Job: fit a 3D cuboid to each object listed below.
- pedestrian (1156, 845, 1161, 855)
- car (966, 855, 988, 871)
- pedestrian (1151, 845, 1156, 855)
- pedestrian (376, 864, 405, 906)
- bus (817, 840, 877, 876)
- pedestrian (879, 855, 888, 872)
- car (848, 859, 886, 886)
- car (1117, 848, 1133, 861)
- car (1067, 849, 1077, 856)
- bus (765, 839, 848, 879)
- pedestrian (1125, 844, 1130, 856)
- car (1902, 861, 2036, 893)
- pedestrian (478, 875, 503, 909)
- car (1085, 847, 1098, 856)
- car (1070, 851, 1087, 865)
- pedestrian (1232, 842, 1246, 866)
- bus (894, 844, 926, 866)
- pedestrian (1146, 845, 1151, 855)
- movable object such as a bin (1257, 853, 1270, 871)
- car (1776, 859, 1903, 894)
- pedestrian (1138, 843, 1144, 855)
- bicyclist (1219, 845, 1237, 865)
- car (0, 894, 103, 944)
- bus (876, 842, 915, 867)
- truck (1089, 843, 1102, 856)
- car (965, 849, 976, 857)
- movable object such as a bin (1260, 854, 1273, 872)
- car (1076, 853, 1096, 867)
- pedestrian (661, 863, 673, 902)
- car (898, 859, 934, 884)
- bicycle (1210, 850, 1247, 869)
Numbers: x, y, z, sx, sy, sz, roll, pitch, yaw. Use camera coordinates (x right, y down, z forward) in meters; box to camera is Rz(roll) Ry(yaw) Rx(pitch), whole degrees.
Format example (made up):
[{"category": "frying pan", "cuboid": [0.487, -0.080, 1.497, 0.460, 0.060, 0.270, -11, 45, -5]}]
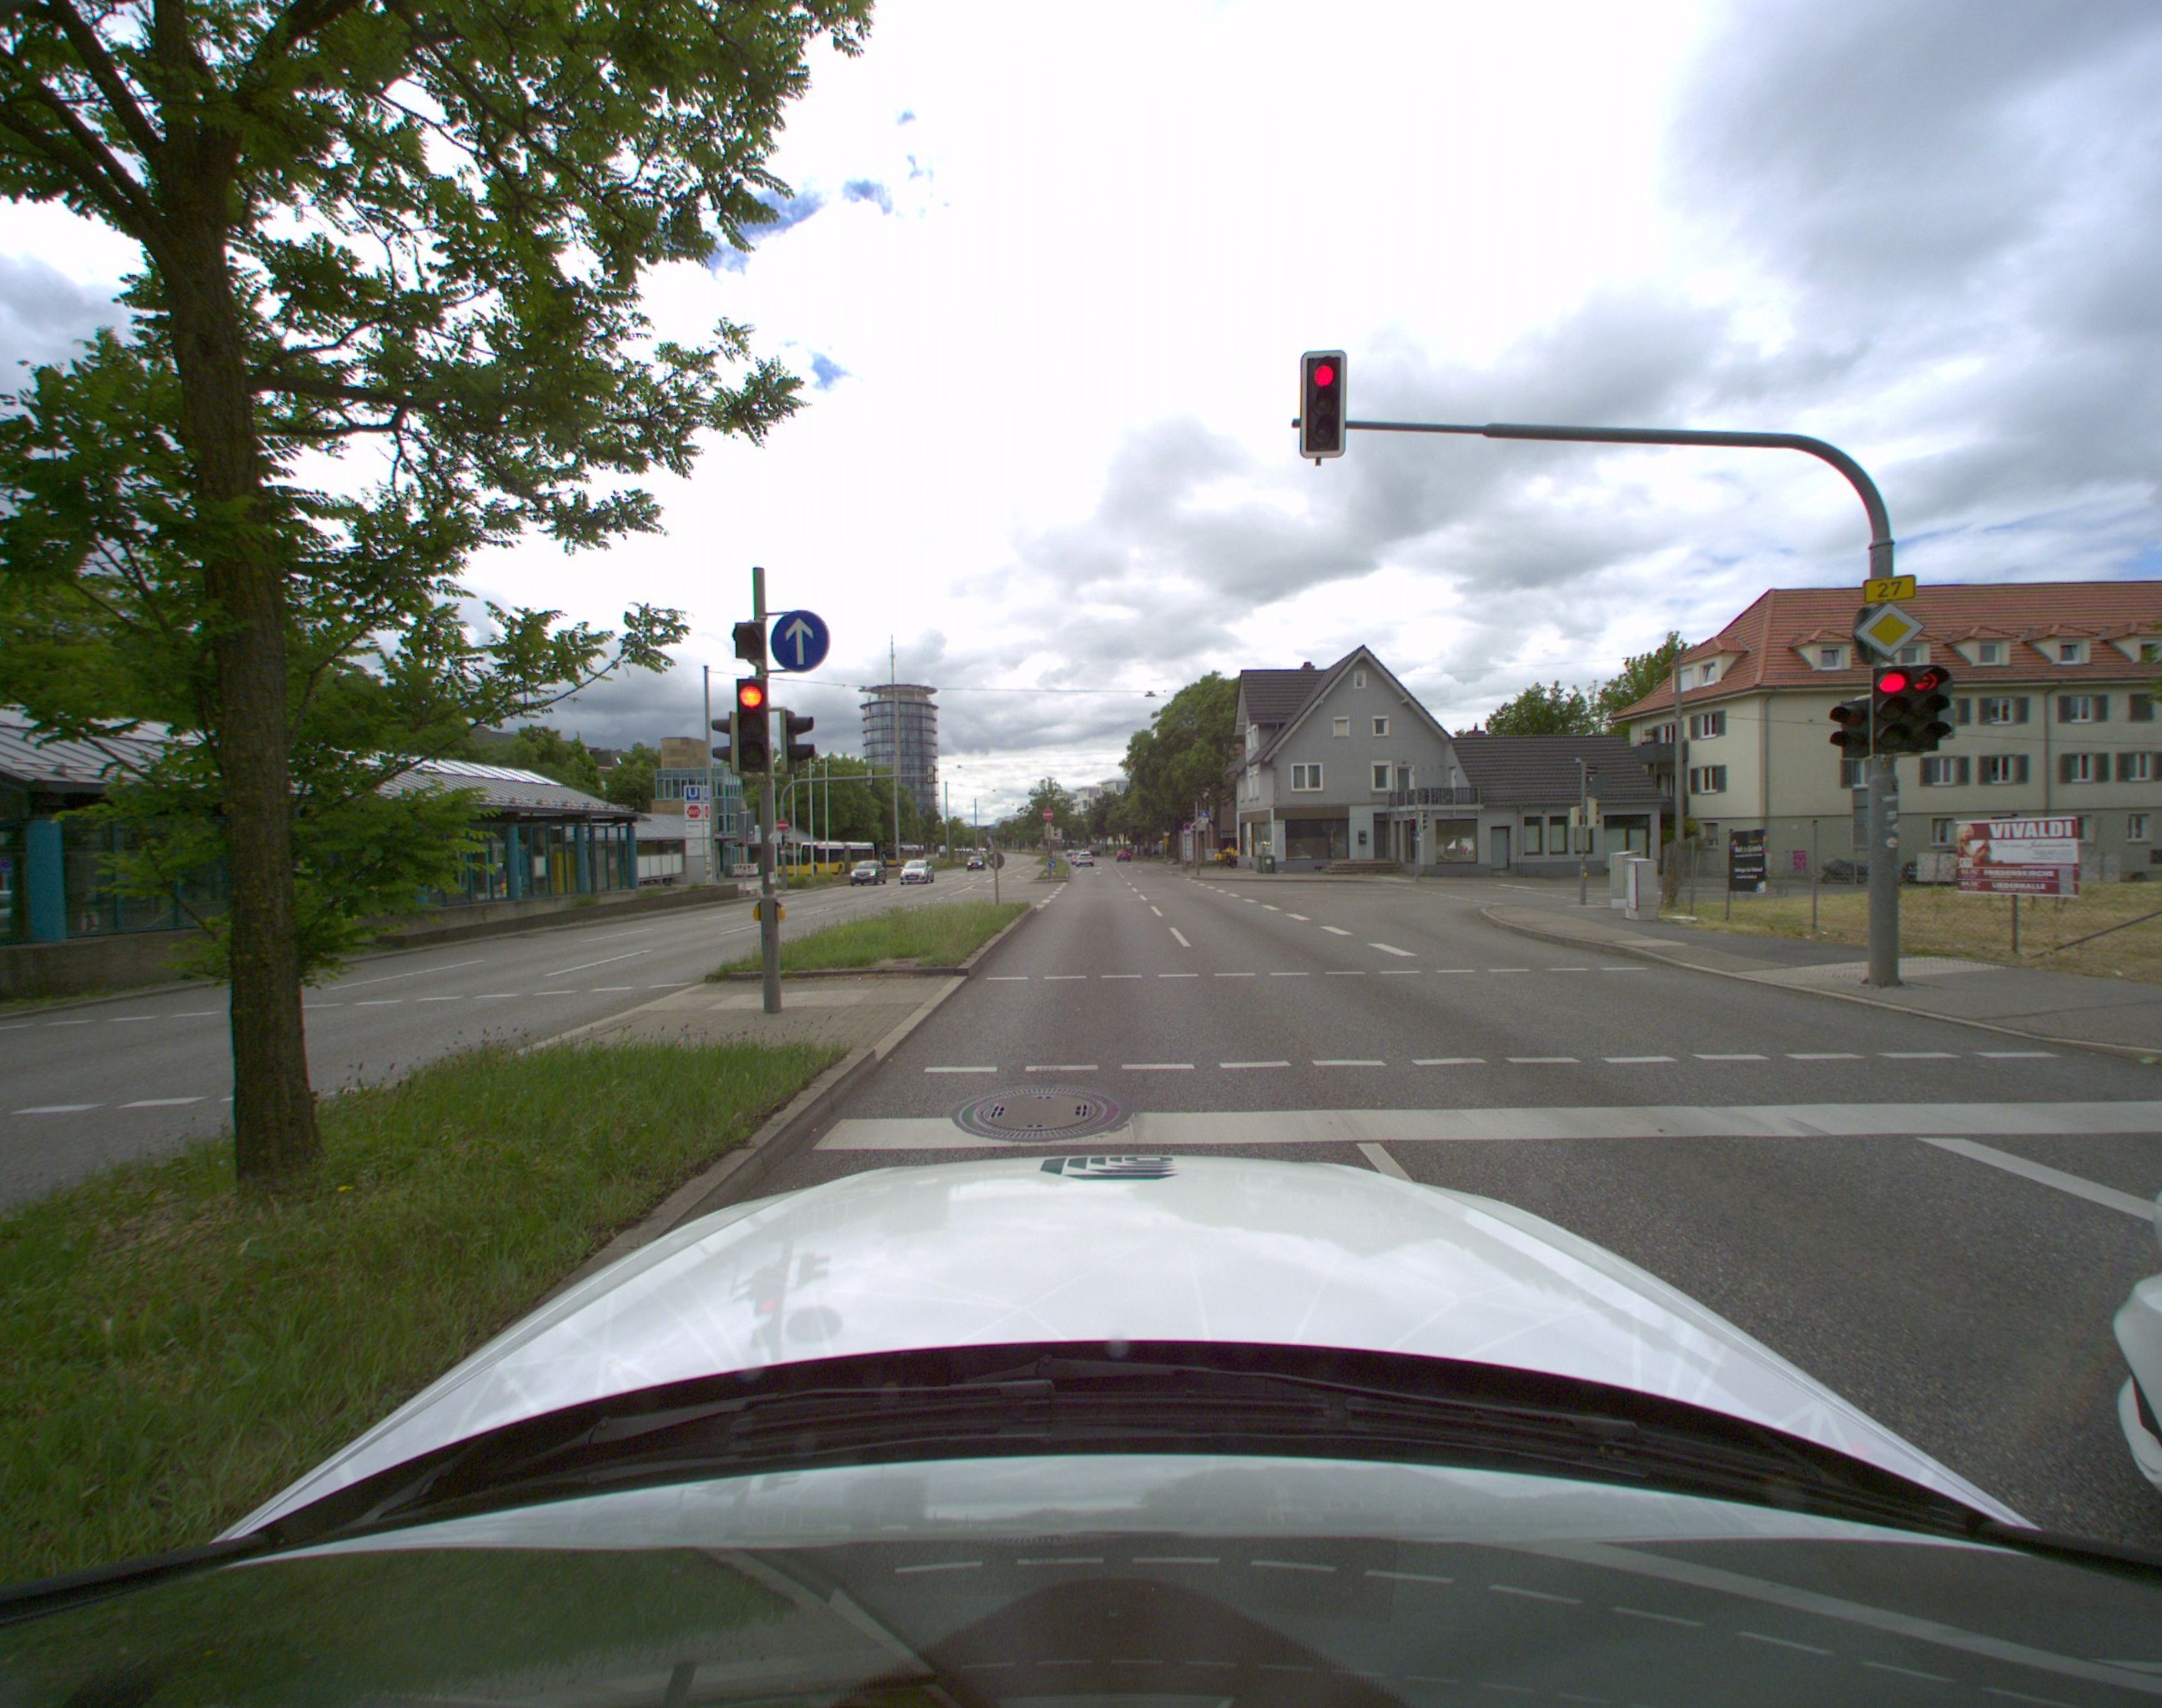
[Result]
[{"category": "pedestrian", "cuboid": [12.850, -0.667, 134.858, 0.649, 1.570, 0.669, -2, 0, -6]}, {"category": "car", "cuboid": [-10.872, 0.923, 85.259, 1.696, 1.492, 3.562, -2, 0, 1]}, {"category": "pedestrian", "cuboid": [12.033, -0.646, 135.047, 0.649, 1.570, 0.669, -2, 0, -6]}, {"category": "pedestrian", "cuboid": [-27.787, 1.231, 32.779, 0.520, 1.655, 0.709, -1, 0, -5]}, {"category": "bus", "cuboid": [-23.358, 0.373, 81.864, 2.975, 3.270, 7.889, -2, 0, 6]}, {"category": "pedestrian", "cuboid": [-22.421, 1.090, 92.595, 0.677, 1.897, 0.667, -2, 0, 36]}, {"category": "car", "cuboid": [-13.496, 1.149, 51.531, 1.681, 1.578, 3.344, -2, 0, -4]}, {"category": "car", "cuboid": [5.646, 0.108, 105.463, 1.883, 1.494, 4.099, -3, -1, 1]}, {"category": "car", "cuboid": [-1.926, -0.347, 173.471, 1.963, 1.420, 4.017, -2, 0, -3]}, {"category": "bus", "cuboid": [-24.329, 0.406, 72.864, 2.975, 3.250, 10.186, -2, 0, 6]}, {"category": "pedestrian", "cuboid": [9.470, -0.842, 165.846, 0.930, 2.308, 1.008, 0, -1, -8]}, {"category": "car", "cuboid": [39.810, 1.023, 36.581, 3.972, 1.377, 1.871, 0, 0, 2]}, {"category": "pedestrian", "cuboid": [-27.671, 1.782, 38.171, 0.630, 1.571, 0.663, -1, -1, 9]}, {"category": "car", "cuboid": [2.082, -0.466, 165.283, 2.246, 1.757, 4.928, -2, 0, -3]}, {"category": "car", "cuboid": [-0.321, 0.464, 97.785, 1.817, 1.540, 4.112, -2, 0, -1]}, {"category": "pedestrian", "cuboid": [11.835, 0.024, 60.974, 0.698, 1.780, 0.876, -2, 0, 32]}, {"category": "bus", "cuboid": [-26.048, 0.128, 124.323, 3.134, 3.225, 7.765, -2, 0, 0]}, {"category": "pedestrian", "cuboid": [11.259, -0.612, 135.077, 0.649, 1.570, 0.669, -2, 0, -6]}, {"category": "movable object such as a bin", "cuboid": [10.035, 0.443, 44.748, 0.527, 0.979, 0.737, -2, 0, 2]}, {"category": "car", "cuboid": [34.040, 0.986, 36.618, 3.972, 1.537, 1.871, 0, 0, 2]}, {"category": "pedestrian", "cuboid": [10.222, -0.874, 139.018, 0.967, 2.014, 0.981, 0, -1, 1]}, {"category": "bicyclist", "cuboid": [10.233, 0.106, 56.645, 0.631, 1.357, 1.066, -2, 0, -36]}, {"category": "car", "cuboid": [-28.396, 1.744, 20.889, 1.818, 1.168, 3.997, -2, 0, -2]}, {"category": "bus", "cuboid": [-26.105, 0.102, 115.313, 3.135, 3.225, 10.282, -2, 0, 0]}, {"category": "truck", "cuboid": [2.741, -0.810, 156.670, 2.246, 2.416, 4.928, -1, 0, -3]}, {"category": "car", "cuboid": [-27.278, -0.163, 201.213, 1.958, 2.014, 4.001, 0, -1, 2]}, {"category": "movable object such as a bin", "cuboid": [10.029, 0.478, 43.957, 0.527, 0.979, 0.737, -2, 0, 2]}, {"category": "car", "cuboid": [0.545, 0.628, 86.737, 1.986, 1.477, 4.257, -2, 0, 1]}, {"category": "pedestrian", "cuboid": [-17.289, 1.172, 34.007, 0.420, 1.591, 0.353, -2, 0, -28]}, {"category": "car", "cuboid": [-10.343, 1.057, 51.320, 1.680, 1.462, 3.552, -2, 0, -3]}, {"category": "bicycle", "cuboid": [10.271, 0.403, 56.663, 2.450, 1.217, 1.066, -2, 0, -36]}]
